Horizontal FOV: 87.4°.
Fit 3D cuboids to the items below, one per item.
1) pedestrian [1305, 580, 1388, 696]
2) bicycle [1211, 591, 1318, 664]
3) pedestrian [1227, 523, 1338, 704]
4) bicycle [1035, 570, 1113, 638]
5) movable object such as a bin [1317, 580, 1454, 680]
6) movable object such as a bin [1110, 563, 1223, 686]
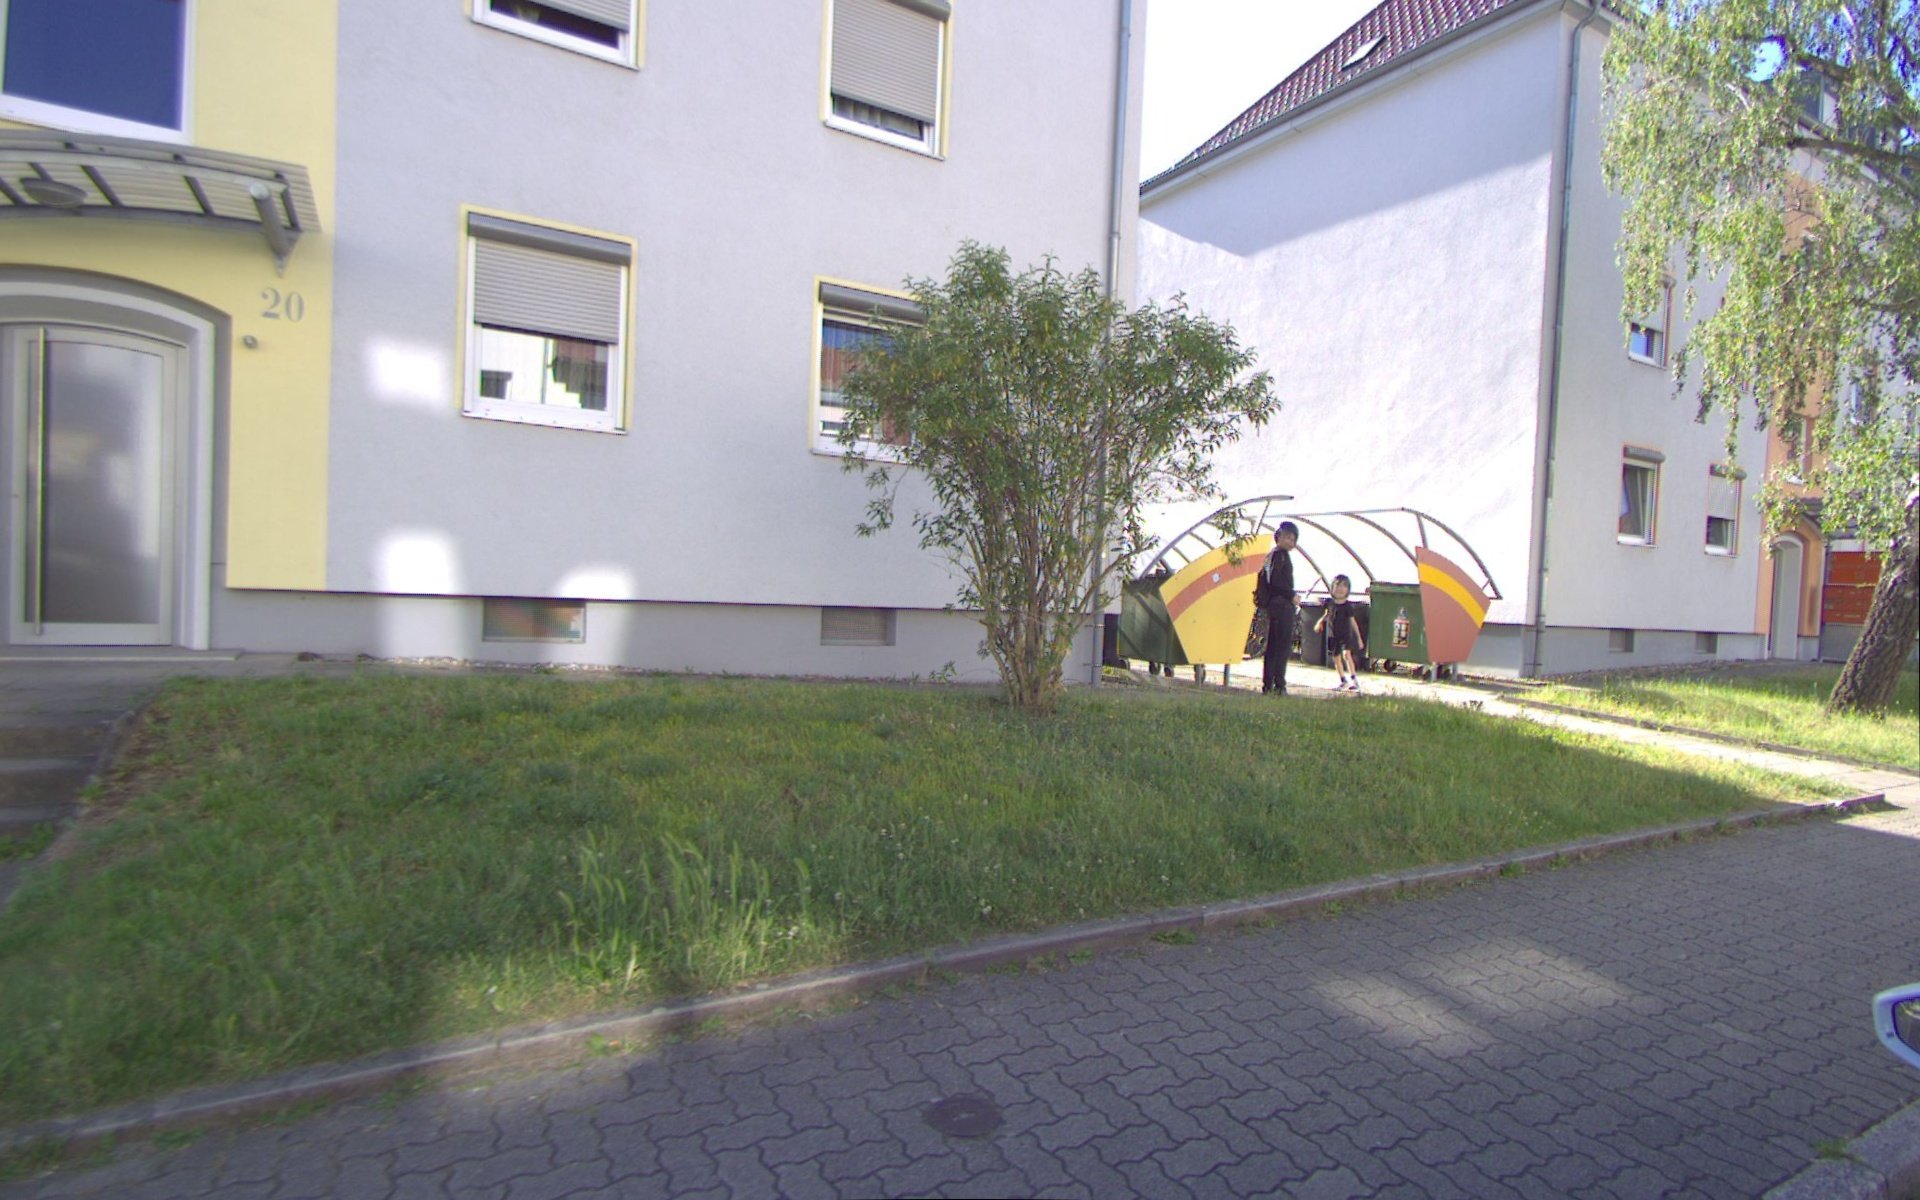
[{"bbox_3d":[4.617,0.439,12.002,0.568,1.334,0.683,2,1,-29],"label":"pedestrian"},{"bbox_3d":[4.997,0.451,16.443,1.828,1.132,0.529,2,2,-31],"label":"bicycle"},{"bbox_3d":[3.437,0.142,10.741,0.709,1.848,0.802,2,1,-29],"label":"pedestrian"},{"bbox_3d":[2.478,0.104,21.696,1.738,1.416,0.463,2,0,-31],"label":"bicycle"},{"bbox_3d":[6.362,0.431,15.077,1.214,1.354,1.381,1,3,-30],"label":"movable object such as a bin"},{"bbox_3d":[2.524,0.279,12.376,0.803,1.425,1.079,1,2,-29],"label":"movable object such as a bin"}]
